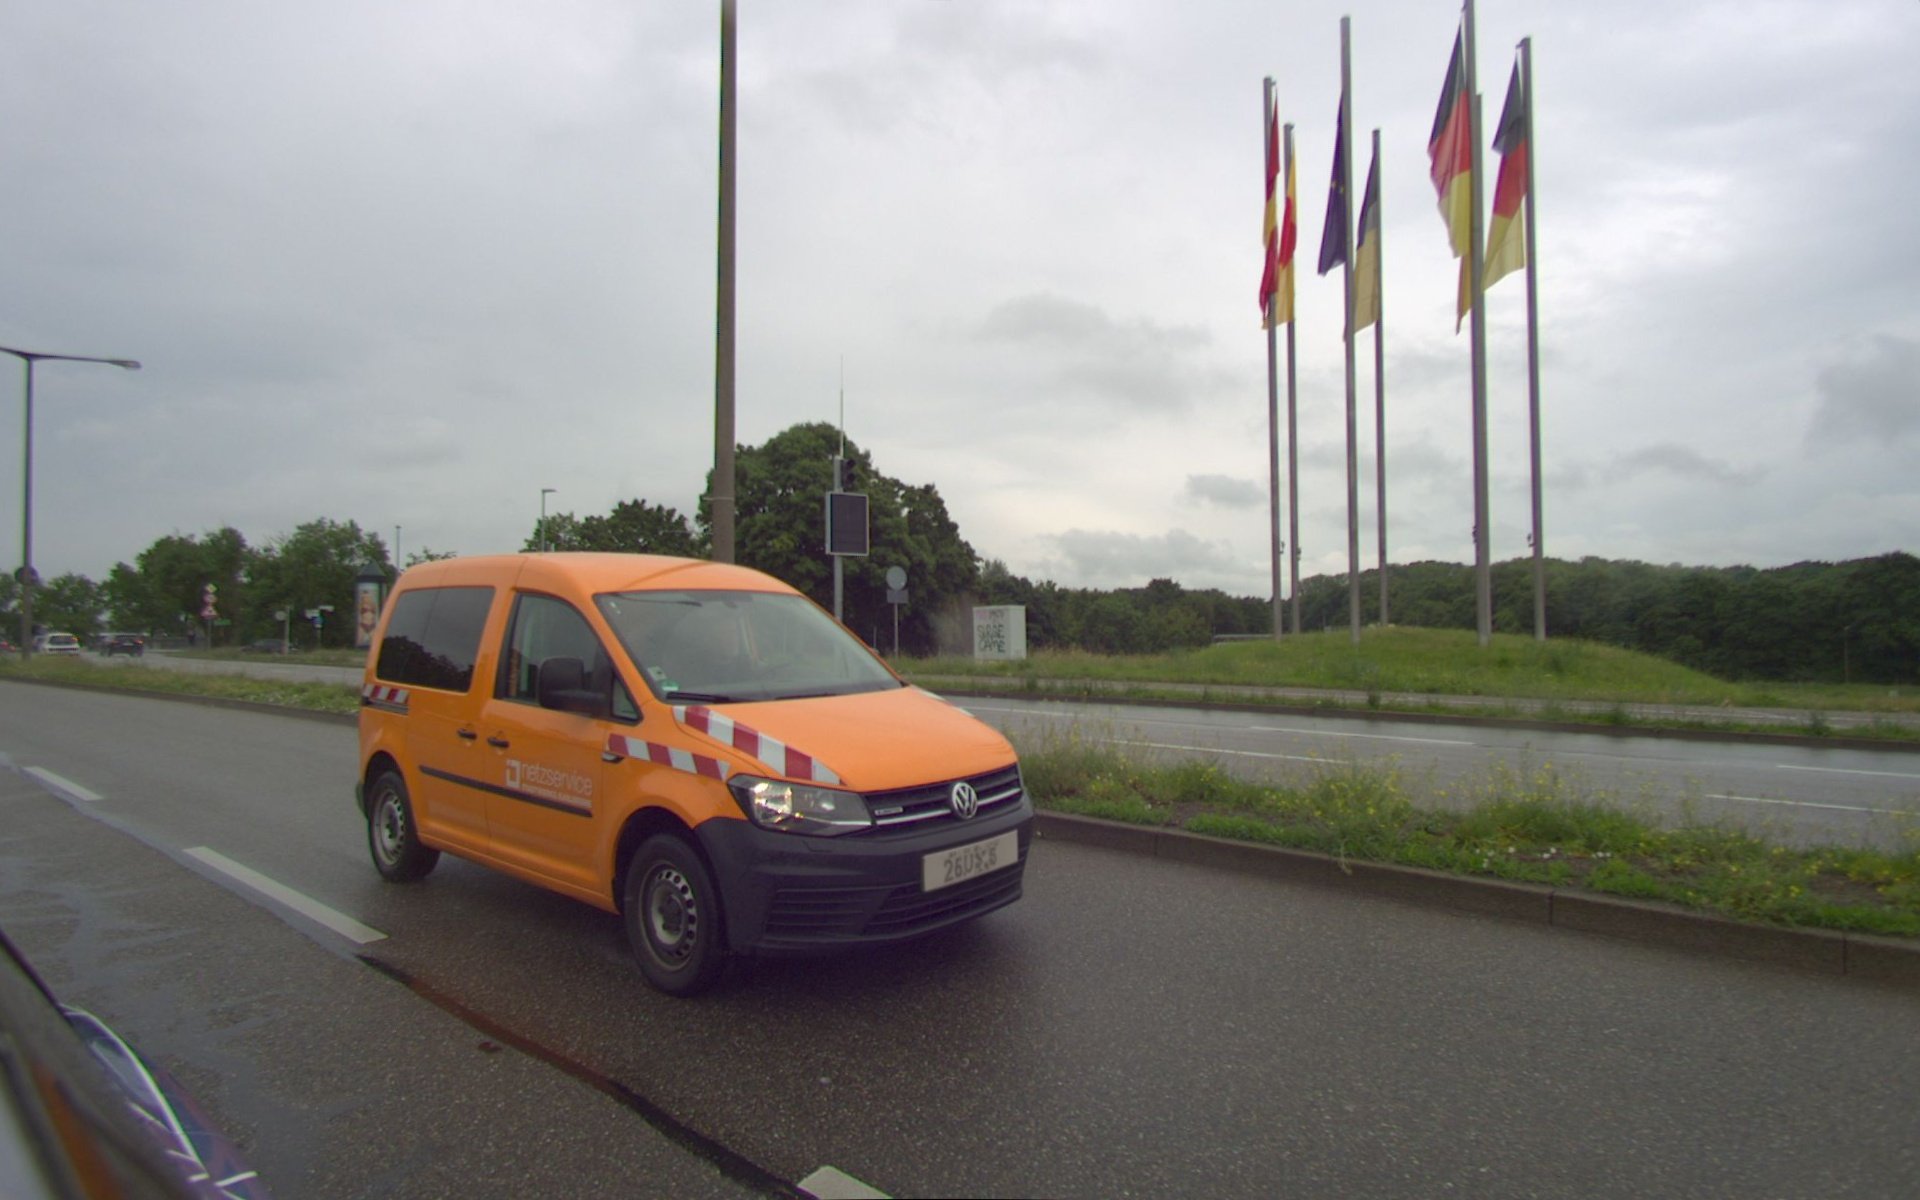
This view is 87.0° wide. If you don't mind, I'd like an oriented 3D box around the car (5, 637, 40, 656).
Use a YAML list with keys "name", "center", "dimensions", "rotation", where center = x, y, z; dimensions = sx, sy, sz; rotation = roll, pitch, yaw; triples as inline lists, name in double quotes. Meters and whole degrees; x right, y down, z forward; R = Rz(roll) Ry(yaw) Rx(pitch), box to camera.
- name: "car"
  center: [-80.394, 3.959, 86.745]
  dimensions: [4.029, 1.533, 1.826]
  rotation: [-1, -1, 41]

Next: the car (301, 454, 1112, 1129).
- name: "car"
  center: [-1.728, 0.608, 5.318]
  dimensions: [4.847, 2.034, 1.716]
  rotation: [-1, -1, 42]

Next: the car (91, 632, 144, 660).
- name: "car"
  center: [-54.652, 2.958, 65.622]
  dimensions: [4.025, 1.764, 1.828]
  rotation: [-1, -1, 37]

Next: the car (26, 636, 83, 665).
- name: "car"
  center: [-54.025, 3.004, 60.388]
  dimensions: [4.025, 1.634, 1.828]
  rotation: [-1, -1, 37]

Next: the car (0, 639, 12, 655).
- name: "car"
  center: [-108.890, 5.358, 114.678]
  dimensions: [4.031, 1.764, 1.825]
  rotation: [-2, -1, 43]
